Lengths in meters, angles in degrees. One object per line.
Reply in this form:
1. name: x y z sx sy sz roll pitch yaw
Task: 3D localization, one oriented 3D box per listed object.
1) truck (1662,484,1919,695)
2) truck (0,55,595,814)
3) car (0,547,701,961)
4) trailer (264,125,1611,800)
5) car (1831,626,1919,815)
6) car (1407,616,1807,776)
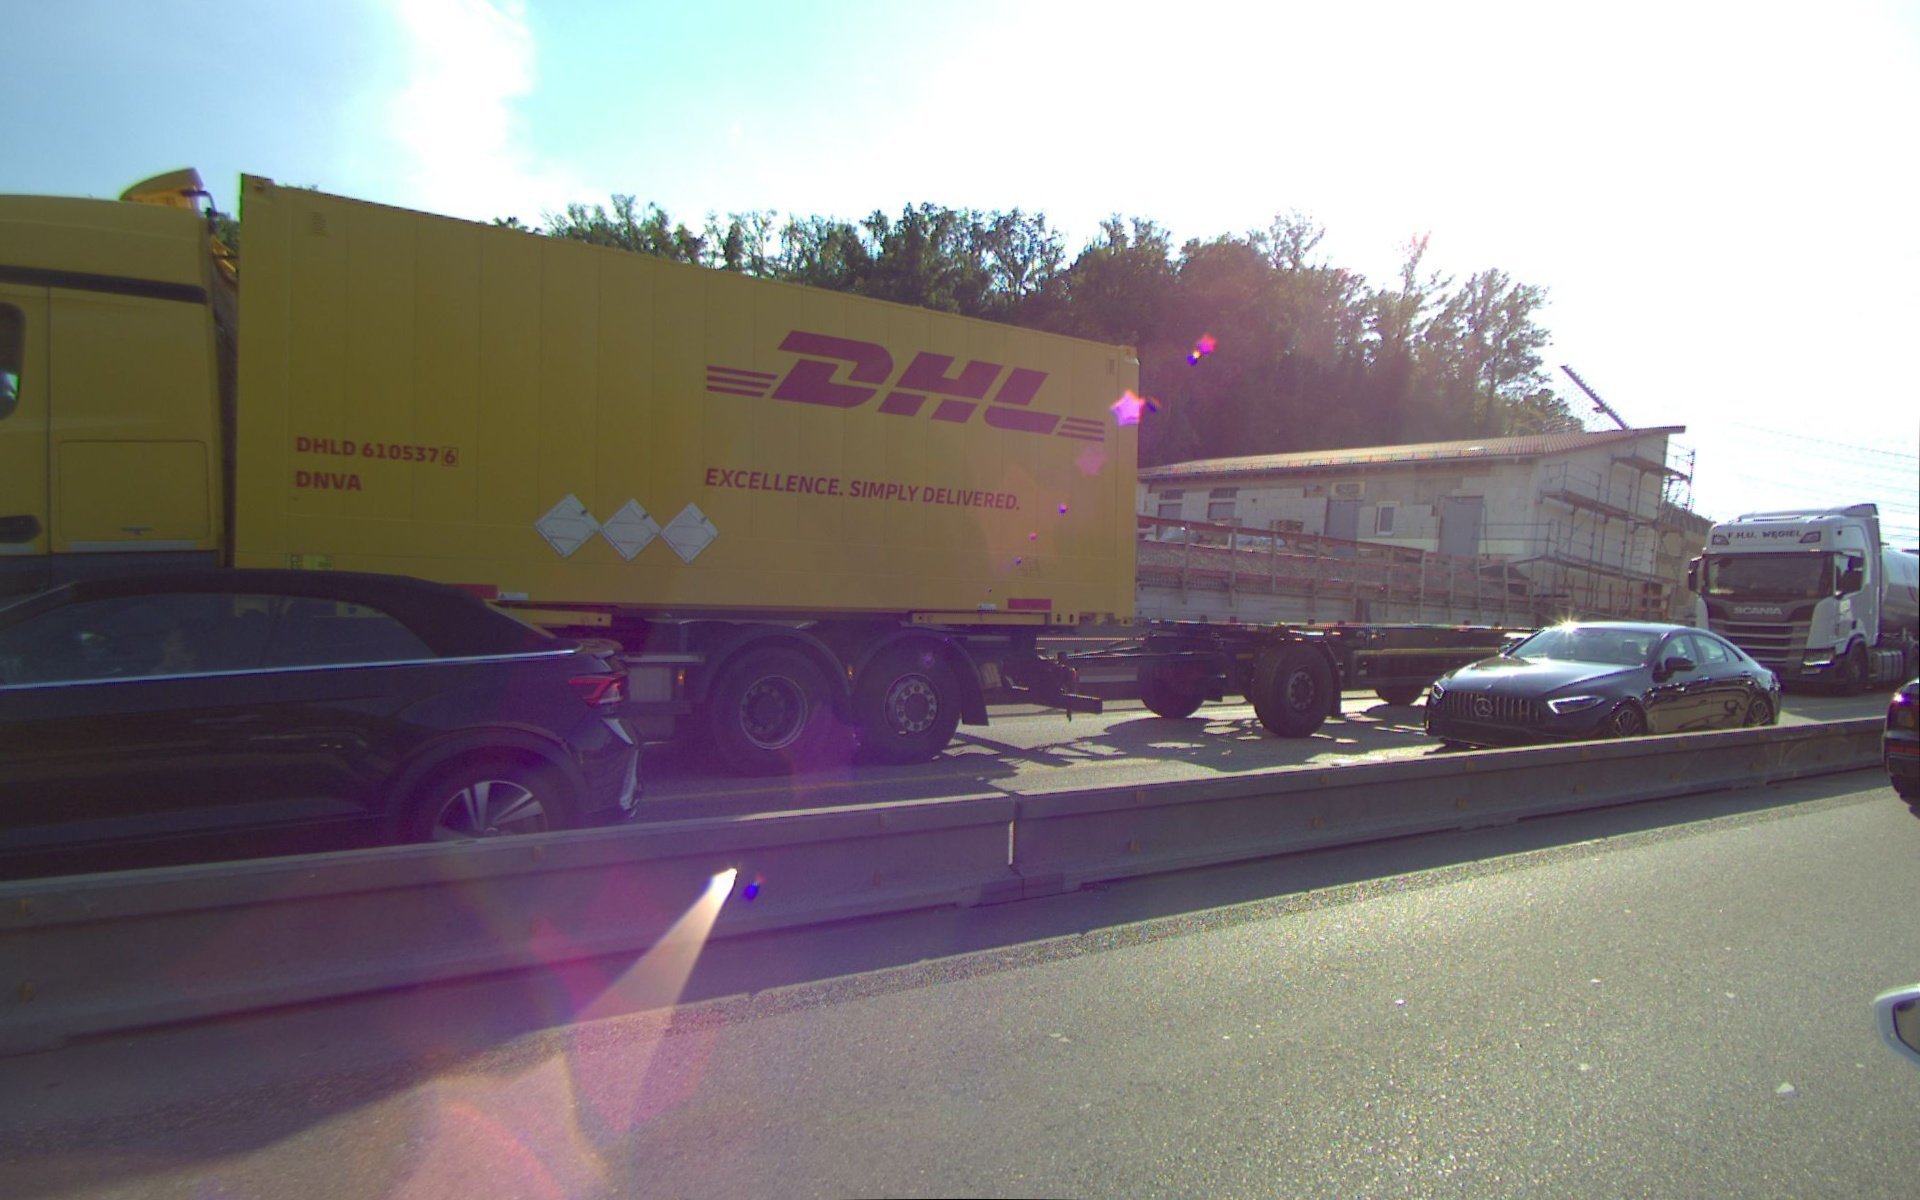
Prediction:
1. truck: 21.659 -0.038 24.015 13.743 4.023 2.792 2 2 -33
2. truck: -5.237 -0.881 7.282 4.348 4.252 2.680 3 -1 -31
3. car: -3.560 0.590 4.681 4.241 1.528 1.708 3 -1 -30
4. trailer: 1.841 -0.545 11.525 15.813 4.259 2.688 3 -1 -31
5. car: 10.085 1.046 8.966 5.160 1.500 1.931 2 -2 -30
6. car: 7.228 0.979 11.066 4.846 1.420 1.731 3 -1 -31
